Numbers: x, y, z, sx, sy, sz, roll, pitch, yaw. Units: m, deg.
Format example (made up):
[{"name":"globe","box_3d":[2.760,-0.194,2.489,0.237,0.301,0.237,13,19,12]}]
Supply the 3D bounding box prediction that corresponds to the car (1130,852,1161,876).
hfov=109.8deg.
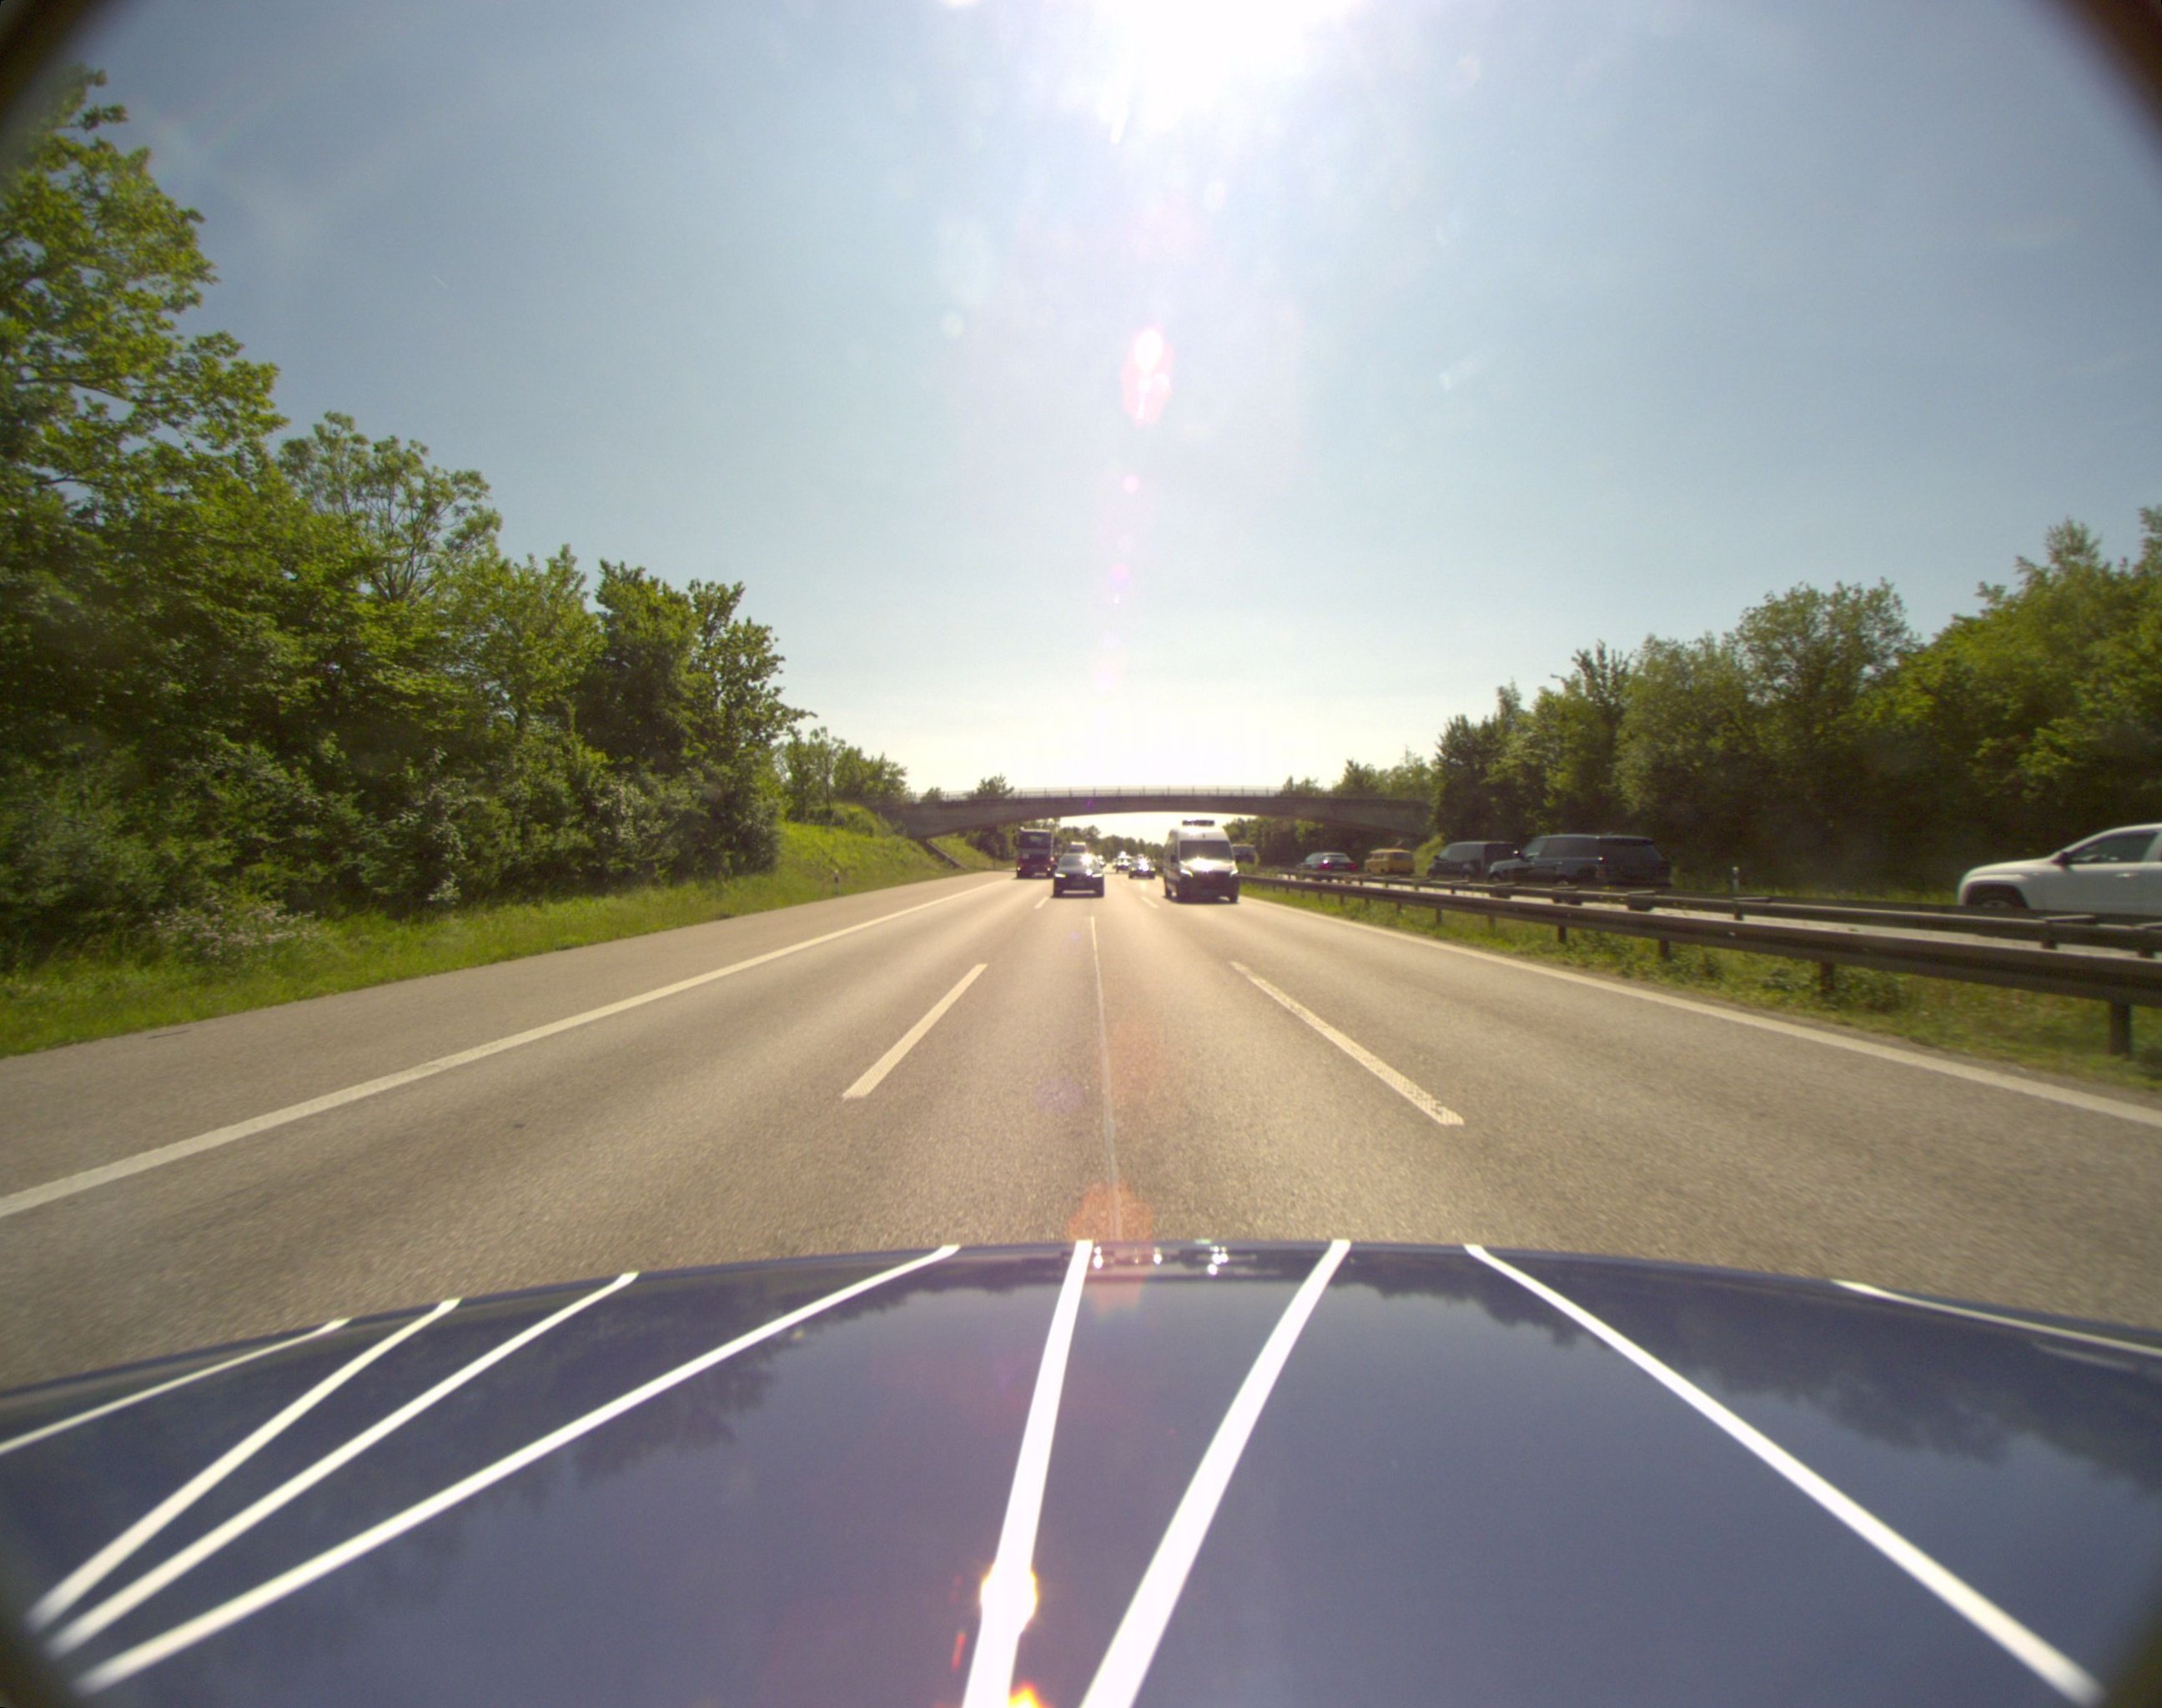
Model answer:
[{"name":"car","box_3d":[4.635,0.668,55.415,1.904,1.616,4.240,-2,0,1]}]

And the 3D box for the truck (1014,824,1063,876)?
[{"name":"truck","box_3d":[-2.939,-0.301,54.833,2.965,3.388,8.047,-1,1,1]}]

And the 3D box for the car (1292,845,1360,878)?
[{"name":"car","box_3d":[12.102,0.317,37.896,1.838,1.513,4.855,1,1,1]}]

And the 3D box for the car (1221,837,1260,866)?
[{"name":"car","box_3d":[17.414,-0.284,83.427,2.553,2.952,6.996,-1,1,-2]}]

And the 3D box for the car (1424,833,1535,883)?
[{"name":"car","box_3d":[16.604,0.150,32.035,1.998,1.902,5.196,-1,1,1]}]

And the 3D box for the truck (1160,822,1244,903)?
[{"name":"truck","box_3d":[4.155,0.244,27.291,1.998,2.527,6.691,-1,0,1]}]

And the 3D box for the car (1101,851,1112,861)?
[{"name":"car","box_3d":[4.657,0.399,139.852,1.998,1.820,4.393,-1,1,1]}]

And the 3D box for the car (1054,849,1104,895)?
[{"name":"car","box_3d":[-0.038,0.662,29.825,1.812,1.648,4.000,-1,0,1]}]

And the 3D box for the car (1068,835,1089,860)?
[{"name":"car","box_3d":[-0.393,-1.036,125.149,3.202,3.997,8.126,-1,1,1]}]

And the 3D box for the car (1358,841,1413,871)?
[{"name":"car","box_3d":[20.704,0.137,51.883,1.911,1.941,4.653,0,1,1]}]

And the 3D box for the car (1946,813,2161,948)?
[{"name":"car","box_3d":[15.468,0.336,10.157,1.998,1.795,5.125,-2,1,0]}]

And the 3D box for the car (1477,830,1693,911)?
[{"name":"car","box_3d":[12.076,0.324,18.780,1.911,1.697,5.196,1,1,1]}]

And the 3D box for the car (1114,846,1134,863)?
[{"name":"car","box_3d":[4.553,0.052,80.948,1.870,1.713,3.980,-2,1,1]}]

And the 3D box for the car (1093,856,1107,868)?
[{"name":"car","box_3d":[2.848,1.137,113.327,1.742,1.630,3.845,-1,1,6]}]

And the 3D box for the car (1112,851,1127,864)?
[{"name":"car","box_3d":[5.342,0.472,106.232,1.998,1.540,4.000,-2,1,3]}]
